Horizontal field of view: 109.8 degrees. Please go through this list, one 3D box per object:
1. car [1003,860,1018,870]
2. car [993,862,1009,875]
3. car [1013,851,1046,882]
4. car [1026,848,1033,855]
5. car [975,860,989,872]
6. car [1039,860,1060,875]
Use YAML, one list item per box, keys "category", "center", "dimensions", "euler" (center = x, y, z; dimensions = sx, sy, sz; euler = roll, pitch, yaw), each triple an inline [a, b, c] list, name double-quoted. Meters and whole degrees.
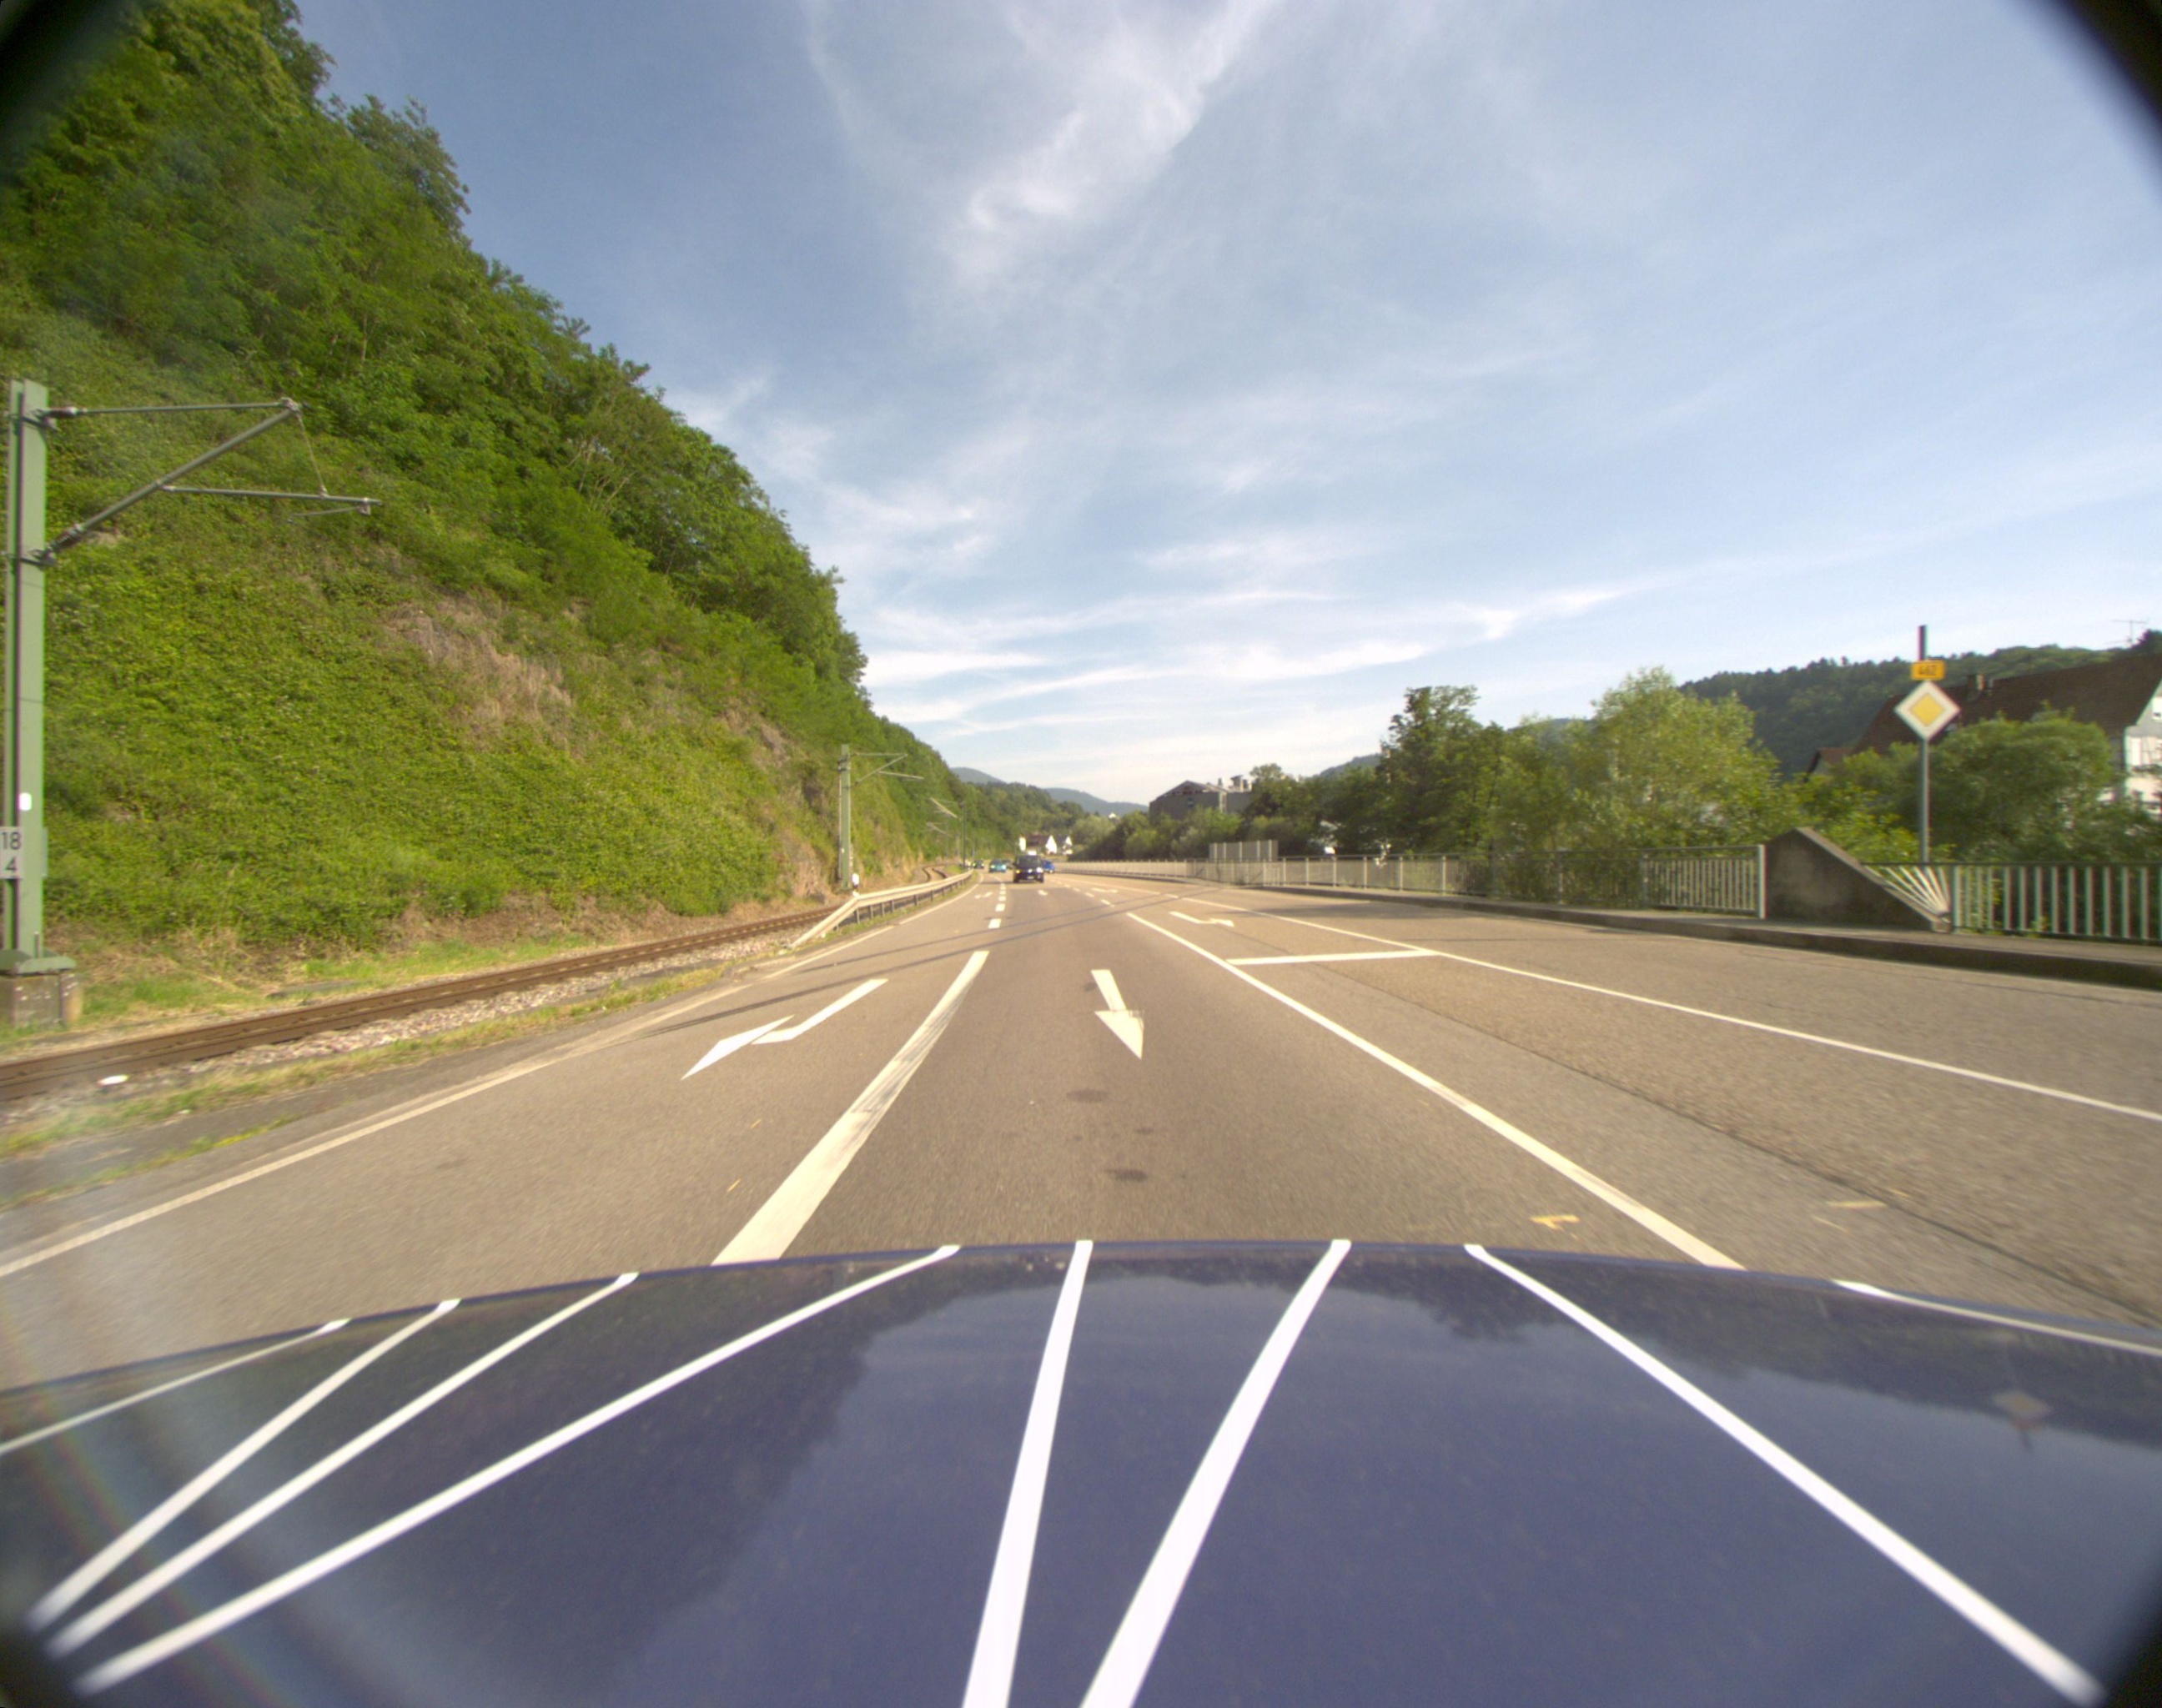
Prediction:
- category: "car"
  center: [-11.300, 1.767, 121.447]
  dimensions: [1.823, 1.636, 4.608]
  euler: [-1, -1, -11]
- category: "car"
  center: [-9.463, 1.740, 89.381]
  dimensions: [1.769, 1.452, 3.574]
  euler: [0, 0, -8]
- category: "car"
  center: [-3.519, 0.884, 51.515]
  dimensions: [1.910, 1.867, 4.346]
  euler: [-3, -1, -7]
- category: "car"
  center: [-15.292, -0.621, 226.113]
  dimensions: [1.999, 2.001, 3.999]
  euler: [-2, -1, -5]
- category: "car"
  center: [-16.309, 1.983, 124.707]
  dimensions: [2.000, 1.783, 3.997]
  euler: [-2, -1, -11]
- category: "car"
  center: [-3.459, 1.473, 82.516]
  dimensions: [1.788, 1.473, 4.522]
  euler: [-1, -1, -9]
